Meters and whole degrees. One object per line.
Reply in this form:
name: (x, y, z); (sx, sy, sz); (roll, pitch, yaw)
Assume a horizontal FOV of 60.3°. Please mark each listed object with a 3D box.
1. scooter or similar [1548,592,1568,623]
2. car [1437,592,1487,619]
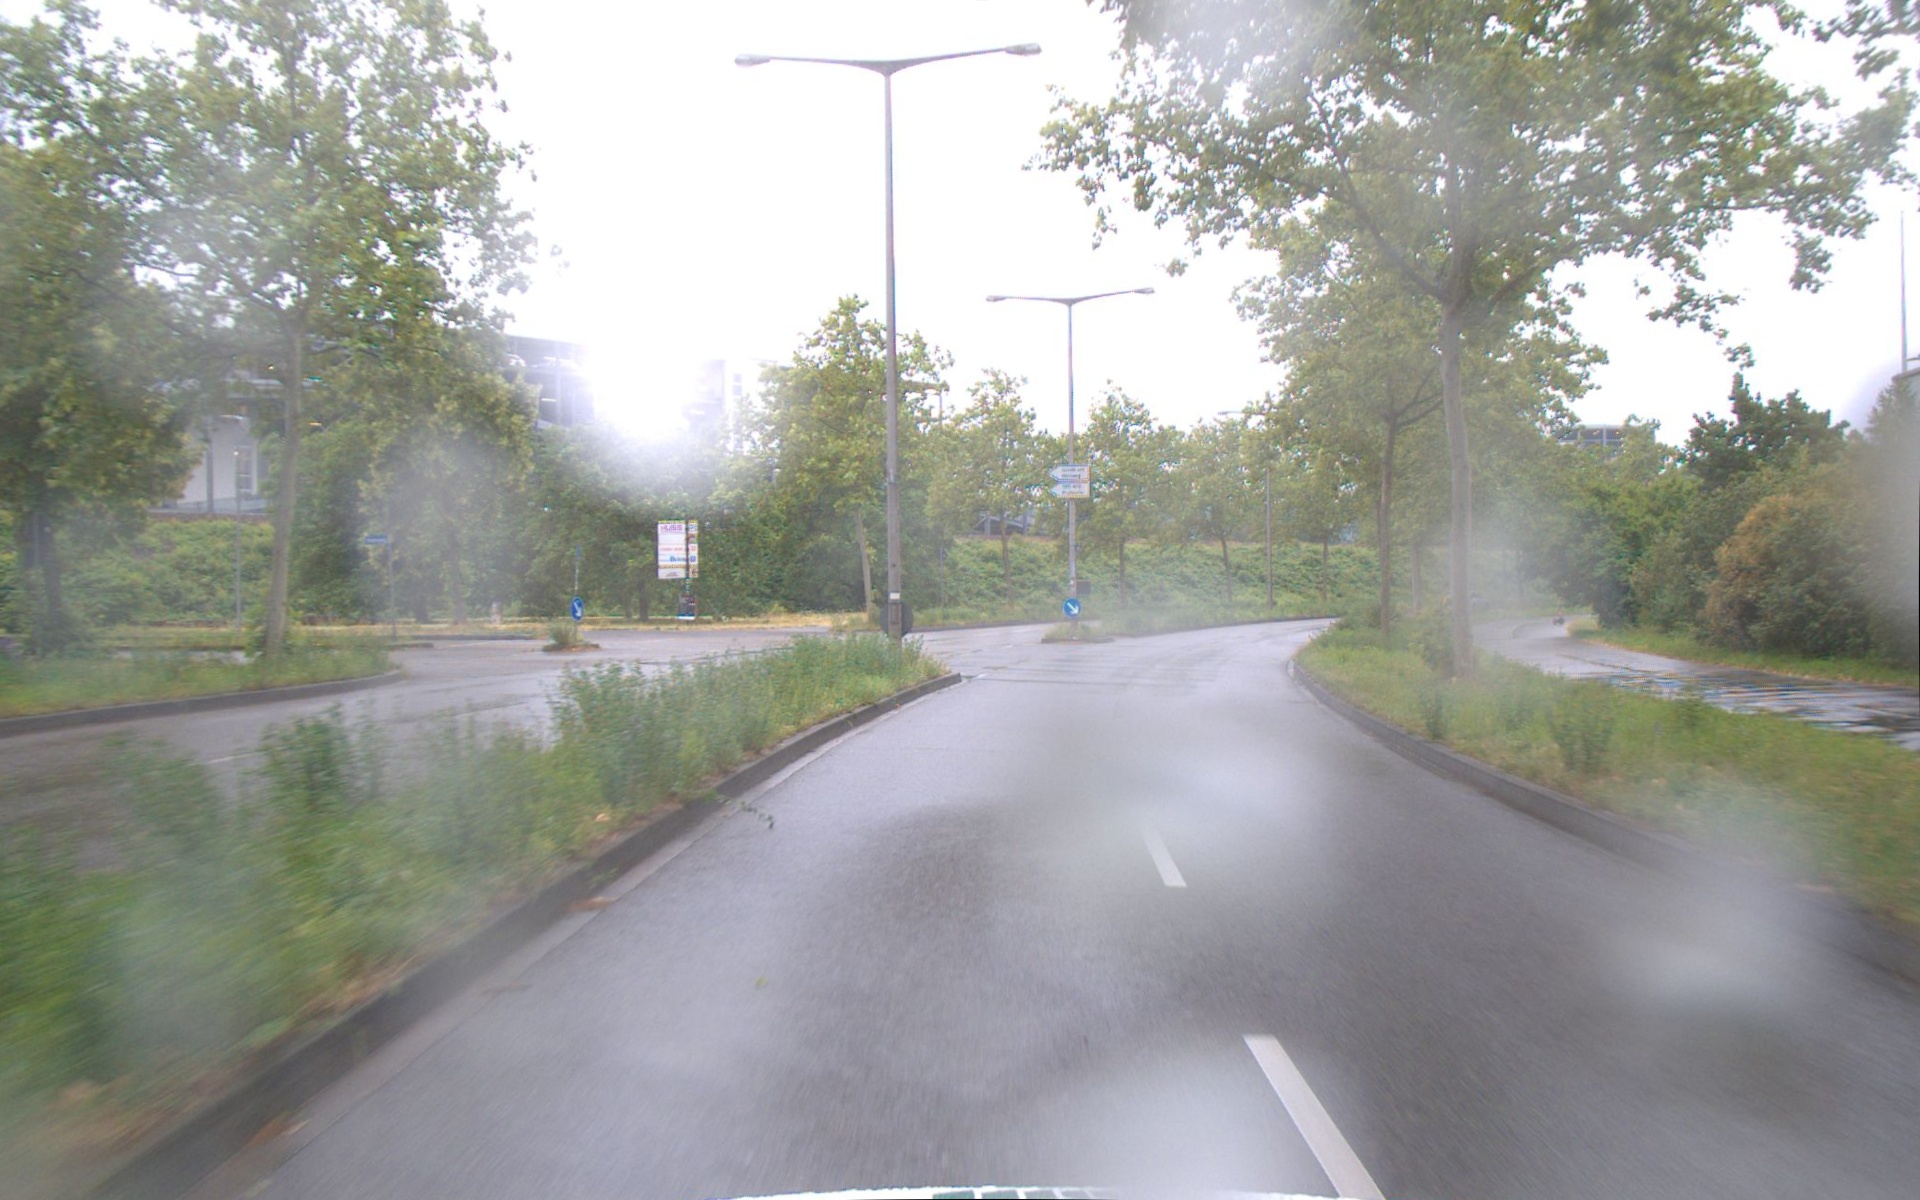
scooter or similar: (24.105, 0.288, 66.656); (0.537, 1.219, 1.112); (0, 0, 8)
car: (31.305, 0.344, 103.111); (1.750, 1.582, 3.984); (2, 1, 36)
